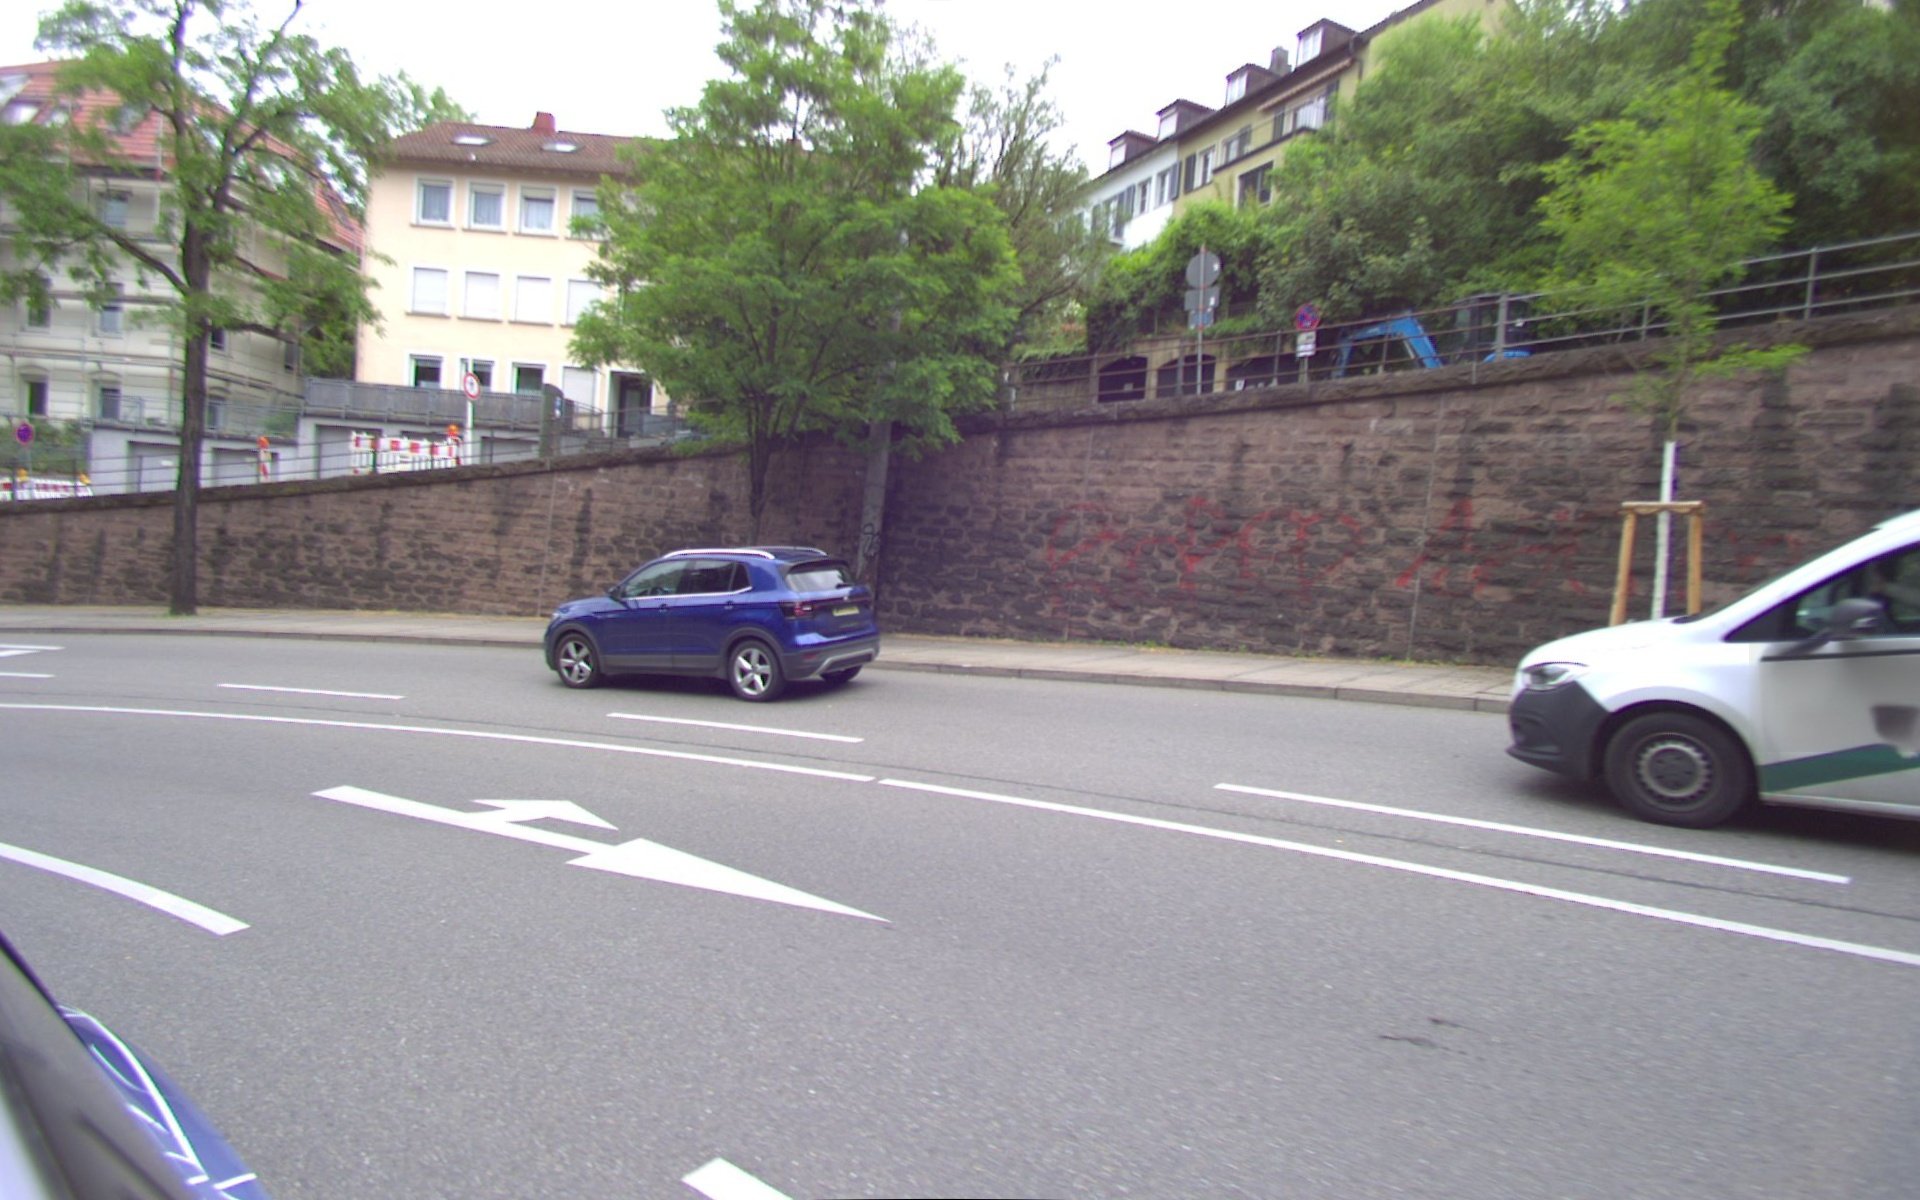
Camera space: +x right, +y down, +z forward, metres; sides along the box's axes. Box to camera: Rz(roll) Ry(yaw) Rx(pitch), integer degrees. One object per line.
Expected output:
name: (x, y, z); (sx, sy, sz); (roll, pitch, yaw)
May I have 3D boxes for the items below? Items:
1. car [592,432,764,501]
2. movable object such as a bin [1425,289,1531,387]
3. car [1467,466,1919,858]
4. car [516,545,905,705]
car: (-7.412, -3.496, 26.684); (4.024, 1.652, 1.768); (2, 3, 13)
movable object such as a bin: (9.875, -4.943, 19.292); (1.603, 1.366, 1.236); (0, 0, 38)
car: (5.249, 0.239, 4.895); (1.800, 1.777, 4.675); (-4, 4, -43)
car: (-2.869, 0.194, 11.526); (4.180, 1.539, 1.716); (0, 3, 27)
